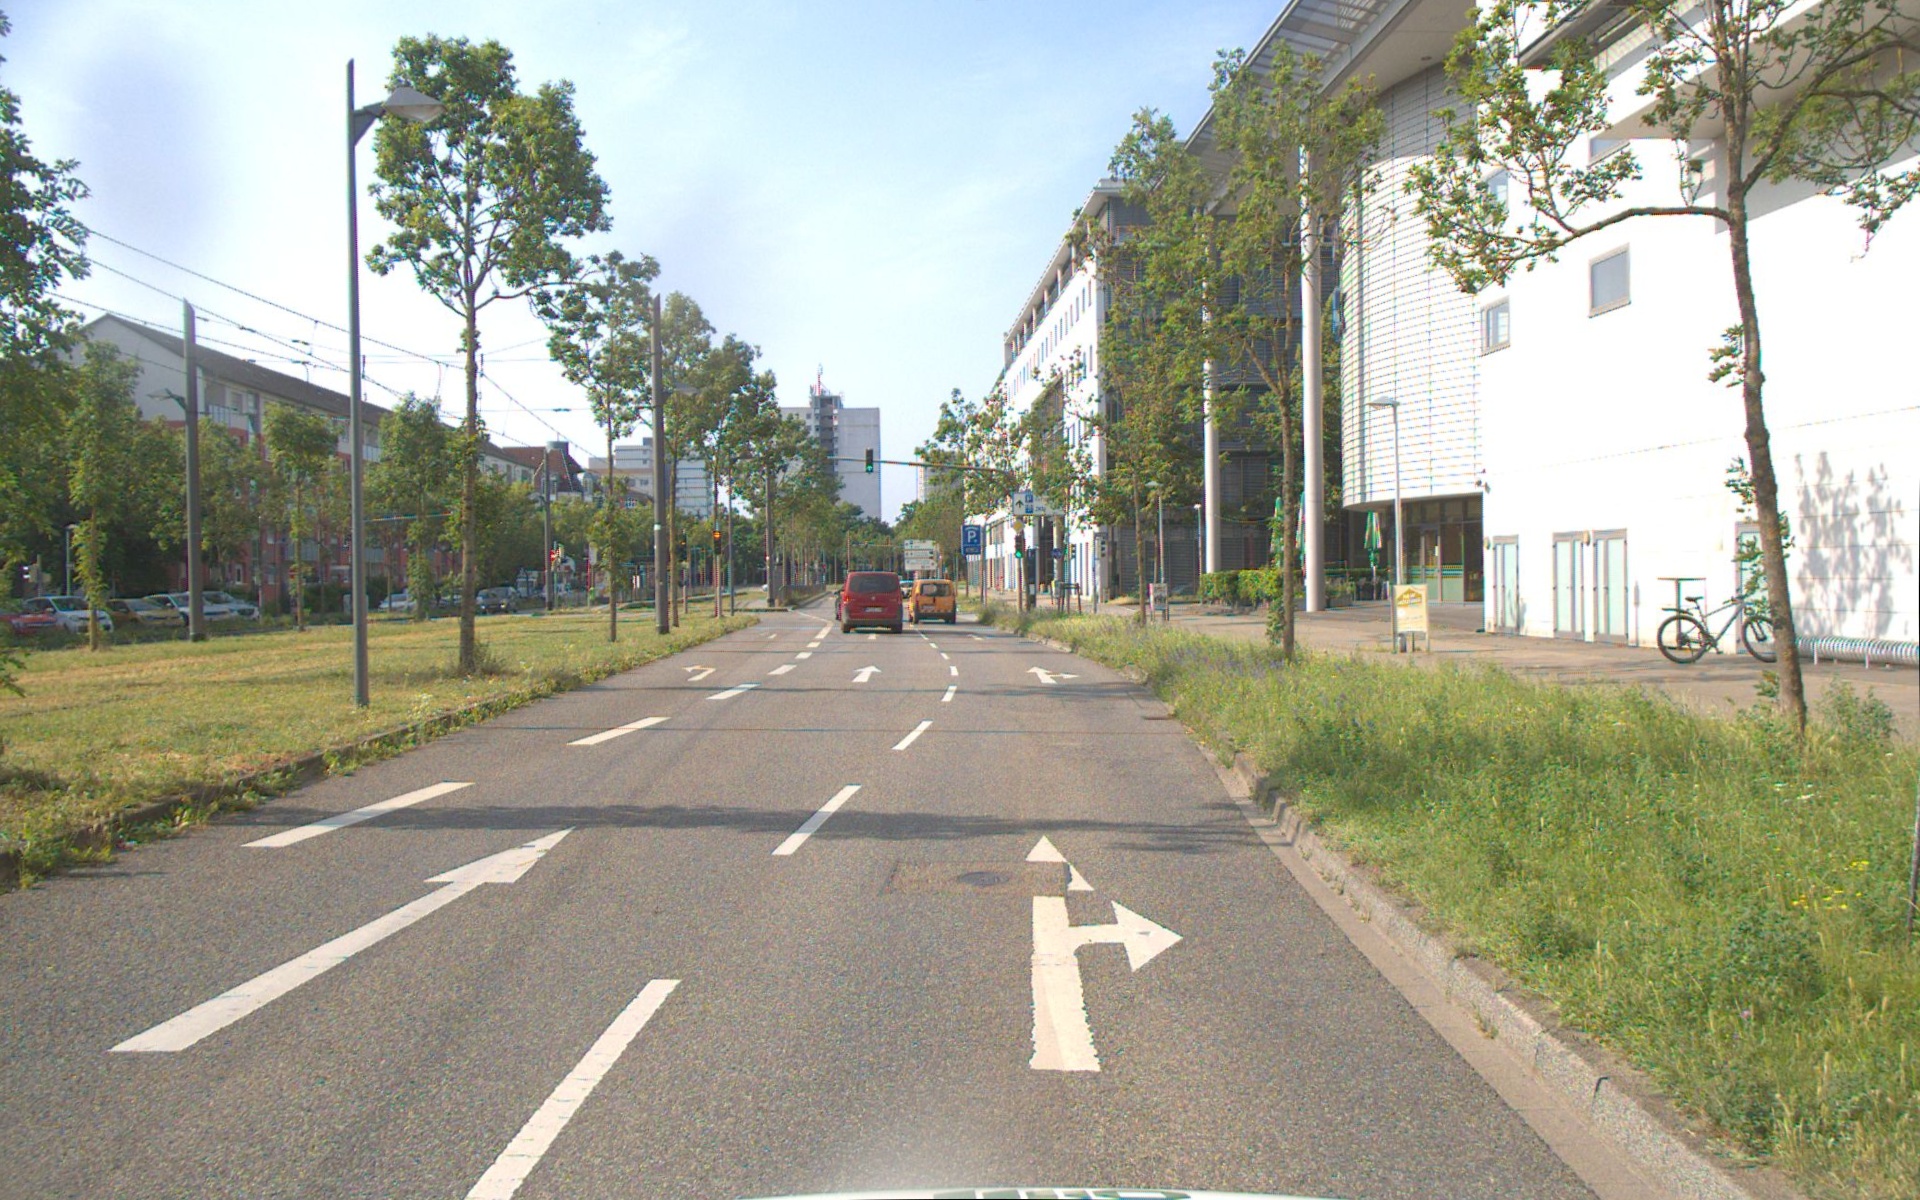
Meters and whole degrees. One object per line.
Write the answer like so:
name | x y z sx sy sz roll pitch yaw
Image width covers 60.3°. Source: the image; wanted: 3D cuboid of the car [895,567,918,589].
car | -4.202 -1.735 129.554 1.655 1.552 3.848 -3 1 -3

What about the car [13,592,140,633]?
car | -29.858 0.411 55.904 3.909 1.291 1.885 1 1 27

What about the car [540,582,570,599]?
car | -37.604 -0.933 153.690 1.942 1.540 4.277 1 1 -4

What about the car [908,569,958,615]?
car | -1.081 -0.320 64.912 1.838 1.726 3.971 -1 1 -3

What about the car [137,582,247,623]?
car | -30.566 0.093 65.794 4.371 1.541 1.994 1 1 33

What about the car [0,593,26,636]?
car | -30.004 0.409 49.630 3.913 1.256 1.696 1 1 30

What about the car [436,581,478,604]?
car | -35.941 -0.545 118.295 1.942 1.583 4.533 1 1 -4

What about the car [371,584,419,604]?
car | -34.963 -0.369 102.466 1.797 1.168 4.161 1 1 -4

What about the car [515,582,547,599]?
car | -37.090 -0.816 143.002 1.942 1.384 4.066 1 1 -4

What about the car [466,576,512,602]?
car | -32.161 -0.742 112.965 1.954 1.735 4.711 -1 1 -3

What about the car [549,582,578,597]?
car | -38.051 -0.993 158.891 1.942 1.403 4.680 1 1 -4

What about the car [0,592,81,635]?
car | -30.253 0.425 53.034 3.912 1.280 1.872 1 1 30

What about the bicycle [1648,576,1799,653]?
bicycle | 11.574 0.217 25.104 1.967 1.122 0.675 -1 1 1

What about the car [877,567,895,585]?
car | -8.683 -2.844 193.226 1.954 2.048 3.998 -1 1 -3

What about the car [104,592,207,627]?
car | -30.427 0.341 62.562 3.922 1.199 1.991 1 1 38

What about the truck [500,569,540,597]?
truck | -41.849 -1.650 157.516 2.319 2.607 7.235 -1 1 -4

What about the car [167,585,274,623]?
car | -31.039 0.160 69.406 4.258 1.489 1.960 1 1 30

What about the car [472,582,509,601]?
car | -36.327 -0.652 128.171 1.942 1.384 4.066 1 1 -4

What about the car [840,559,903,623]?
car | -2.798 -0.305 51.752 1.838 1.885 3.997 -1 1 -5
